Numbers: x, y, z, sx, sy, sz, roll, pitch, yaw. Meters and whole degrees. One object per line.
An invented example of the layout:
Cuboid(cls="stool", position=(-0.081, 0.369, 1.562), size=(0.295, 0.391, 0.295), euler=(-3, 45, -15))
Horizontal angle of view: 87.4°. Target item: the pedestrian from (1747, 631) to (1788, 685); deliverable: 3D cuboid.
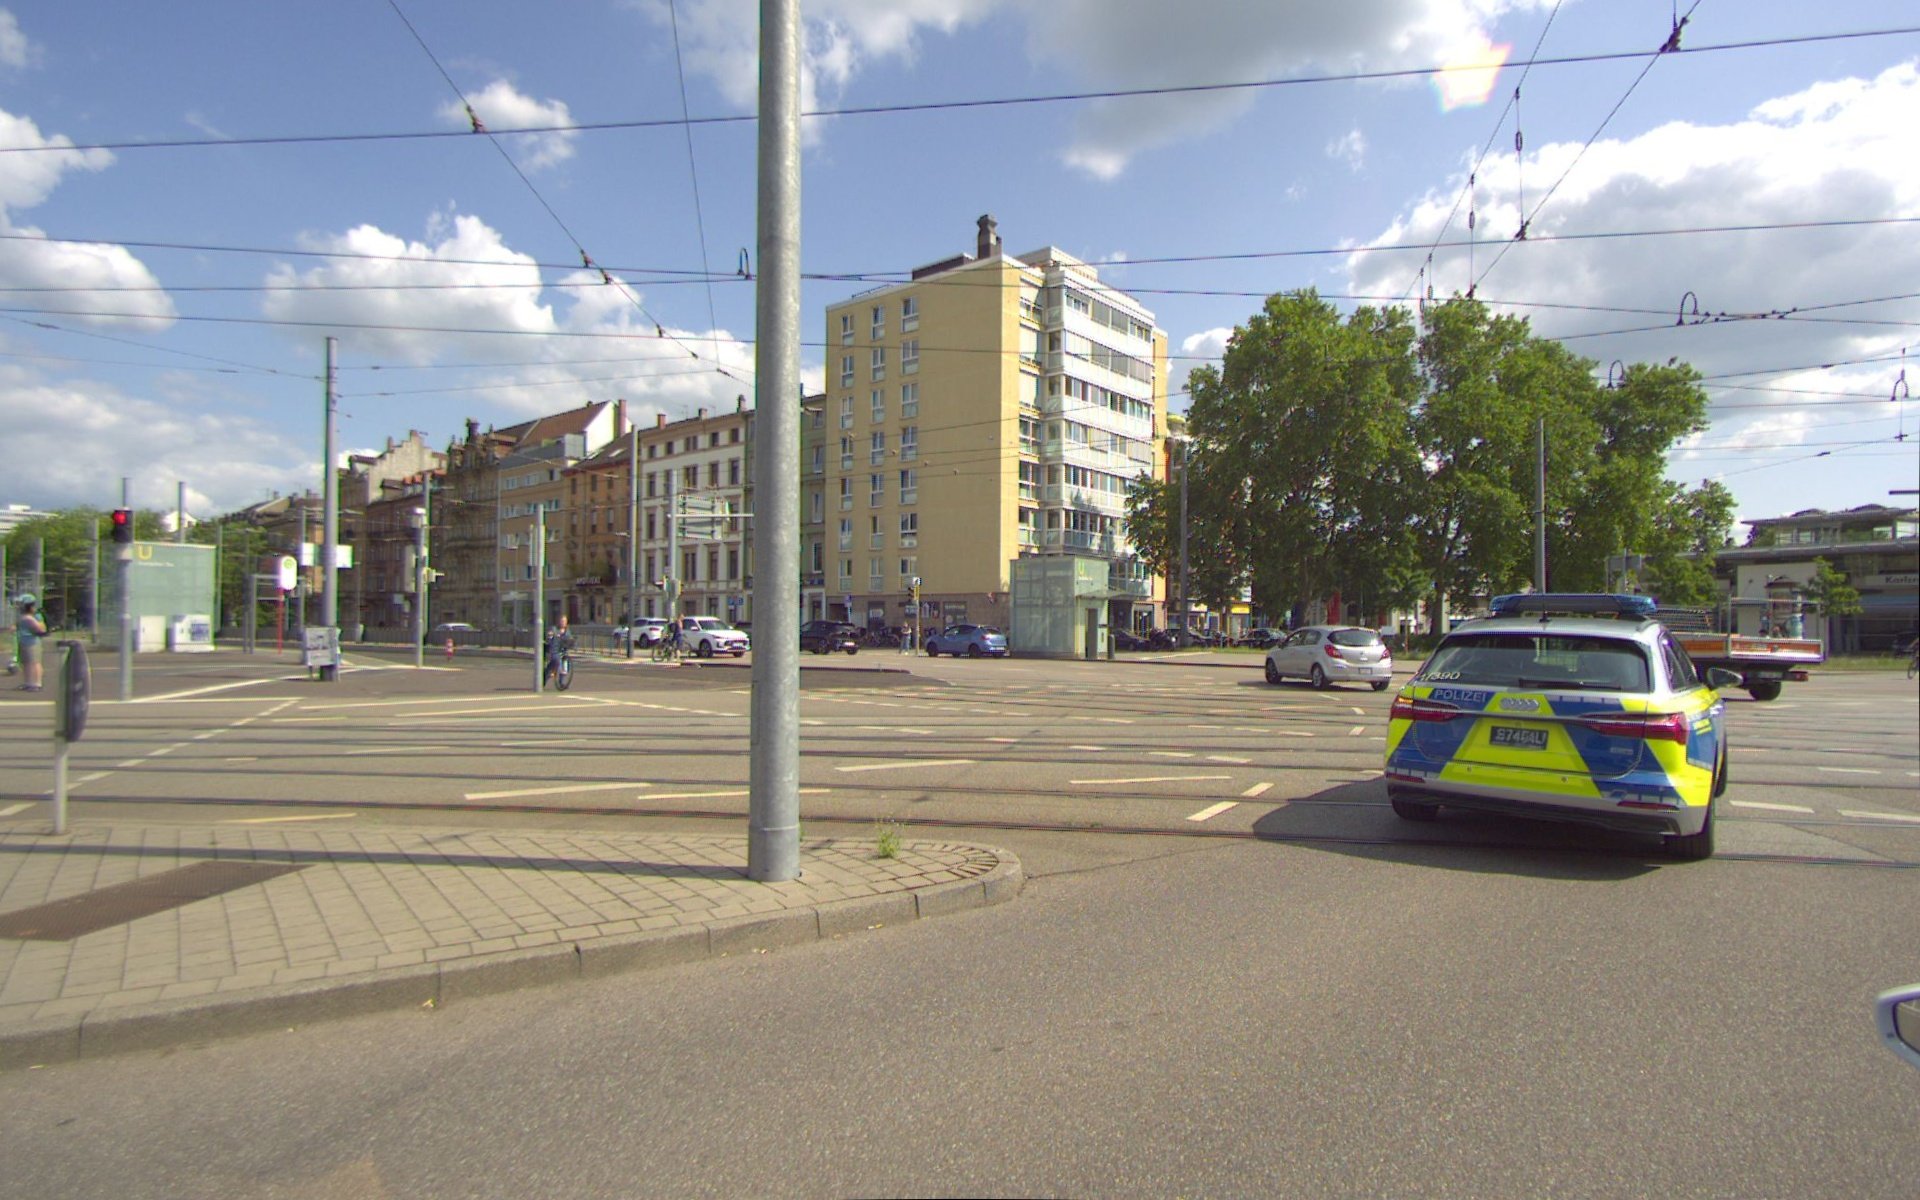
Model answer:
Cuboid(cls="pedestrian", position=(27.594, 1.971, 34.333), size=(0.909, 1.767, 0.589), euler=(2, 0, 25))

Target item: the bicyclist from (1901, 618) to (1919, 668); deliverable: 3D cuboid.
Cuboid(cls="bicyclist", position=(33.133, 1.485, 34.604), size=(0.749, 1.705, 0.758), euler=(1, -2, -22))

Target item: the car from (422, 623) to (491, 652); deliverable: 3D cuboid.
Cuboid(cls="car", position=(-27.548, 2.013, 54.878), size=(4.033, 1.548, 1.990), euler=(-1, -2, 41))

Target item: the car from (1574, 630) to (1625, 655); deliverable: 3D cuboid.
Cuboid(cls="car", position=(52.433, 3.480, 82.335), size=(5.023, 1.962, 1.953), euler=(3, -4, -38))

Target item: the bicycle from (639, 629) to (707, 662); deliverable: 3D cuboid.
Cuboid(cls="bicycle", position=(-10.480, 1.656, 36.779), size=(0.875, 1.153, 2.350), euler=(2, 0, 34))

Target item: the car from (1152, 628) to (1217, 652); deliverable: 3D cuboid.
Cuboid(cls="car", position=(15.195, 2.684, 67.964), size=(3.938, 1.514, 1.795), euler=(-1, -2, 39))

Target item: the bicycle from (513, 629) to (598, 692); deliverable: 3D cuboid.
Cuboid(cls="bicycle", position=(-8.302, 1.207, 20.536), size=(0.986, 1.204, 2.275), euler=(2, -3, -39))

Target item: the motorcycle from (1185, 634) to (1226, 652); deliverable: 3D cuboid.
Cuboid(cls="motorcycle", position=(13.490, 2.373, 55.239), size=(2.004, 0.929, 0.811), euler=(0, -1, 0))

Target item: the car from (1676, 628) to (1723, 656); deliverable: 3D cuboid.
Cuboid(cls="car", position=(55.829, 3.196, 75.777), size=(4.199, 2.040, 1.976), euler=(3, -4, -41))

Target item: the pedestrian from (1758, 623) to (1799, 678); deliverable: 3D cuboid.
Cuboid(cls="pedestrian", position=(27.242, 1.660, 33.440), size=(0.909, 1.767, 0.589), euler=(2, 0, 25))

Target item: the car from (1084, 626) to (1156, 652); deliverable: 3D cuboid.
Cuboid(cls="car", position=(9.506, 2.310, 59.711), size=(3.937, 1.416, 1.666), euler=(0, -3, 38))

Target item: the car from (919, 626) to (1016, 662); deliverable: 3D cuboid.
Cuboid(cls="car", position=(0.290, 1.853, 42.605), size=(3.942, 1.395, 1.733), euler=(0, -2, 42))

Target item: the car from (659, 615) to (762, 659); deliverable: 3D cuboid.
Cuboid(cls="car", position=(-10.188, 1.482, 40.938), size=(4.224, 1.661, 2.033), euler=(-1, -2, 41))

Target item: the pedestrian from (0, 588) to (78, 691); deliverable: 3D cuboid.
Cuboid(cls="pedestrian", position=(-16.927, 0.716, 18.397), size=(1.017, 1.821, 0.760), euler=(2, 0, -33))

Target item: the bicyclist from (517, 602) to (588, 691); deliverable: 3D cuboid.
Cuboid(cls="bicyclist", position=(-8.373, 0.952, 20.633), size=(0.987, 1.753, 1.287), euler=(2, -3, -39))

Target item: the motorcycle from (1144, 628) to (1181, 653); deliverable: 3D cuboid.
Cuboid(cls="motorcycle", position=(10.345, 2.044, 51.412), size=(0.891, 1.254, 2.210), euler=(0, -1, -19))

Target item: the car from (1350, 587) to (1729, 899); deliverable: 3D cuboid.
Cuboid(cls="car", position=(4.592, 0.778, 7.546), size=(1.856, 1.589, 4.597), euler=(1, -1, 38))

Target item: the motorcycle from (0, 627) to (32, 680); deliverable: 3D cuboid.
Cuboid(cls="motorcycle", position=(-22.911, 1.282, 24.266), size=(0.479, 1.253, 1.433), euler=(2, -2, -34))

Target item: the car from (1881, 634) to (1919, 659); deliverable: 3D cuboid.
Cuboid(cls="car", position=(61.386, 3.056, 65.306), size=(3.887, 1.553, 1.803), euler=(3, -4, -41))

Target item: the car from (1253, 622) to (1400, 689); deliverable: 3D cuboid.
Cuboid(cls="car", position=(8.773, 1.292, 24.422), size=(1.819, 1.494, 3.997), euler=(0, -1, -6))

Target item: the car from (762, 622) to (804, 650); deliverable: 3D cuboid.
Cuboid(cls="car", position=(-10.052, 2.079, 57.310), size=(1.863, 1.516, 3.899), euler=(2, -2, -3))

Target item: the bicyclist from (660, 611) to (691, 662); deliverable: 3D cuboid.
Cuboid(cls="bicyclist", position=(-10.437, 1.336, 36.813), size=(0.767, 1.821, 0.708), euler=(2, 0, 36))

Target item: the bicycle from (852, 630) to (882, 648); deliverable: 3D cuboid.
Cuboid(cls="bicycle", position=(-6.015, 2.481, 64.873), size=(1.779, 1.118, 0.794), euler=(0, -1, 35))

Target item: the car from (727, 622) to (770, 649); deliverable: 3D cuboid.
Cuboid(cls="car", position=(-12.539, 2.122, 59.674), size=(1.863, 1.516, 3.899), euler=(2, -2, -3))

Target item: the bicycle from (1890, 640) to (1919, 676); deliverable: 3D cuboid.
Cuboid(cls="bicycle", position=(33.089, 1.997, 34.585), size=(2.119, 1.208, 0.758), euler=(1, -2, -23))

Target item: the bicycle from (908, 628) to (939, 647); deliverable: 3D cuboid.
Cuboid(cls="bicycle", position=(-2.255, 2.308, 62.127), size=(1.779, 1.118, 0.794), euler=(0, -1, 35))

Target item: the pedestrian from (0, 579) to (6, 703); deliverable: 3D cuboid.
Cuboid(cls="pedestrian", position=(-15.357, 0.621, 15.361), size=(0.752, 1.928, 0.826), euler=(2, 0, 22))

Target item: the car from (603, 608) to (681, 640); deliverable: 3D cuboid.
Cuboid(cls="car", position=(-17.169, 1.265, 54.099), size=(4.474, 1.599, 2.035), euler=(0, -1, 42))

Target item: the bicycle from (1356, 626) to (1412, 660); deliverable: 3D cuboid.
Cuboid(cls="bicycle", position=(18.825, 1.894, 44.639), size=(2.141, 1.433, 0.809), euler=(1, 0, 39))

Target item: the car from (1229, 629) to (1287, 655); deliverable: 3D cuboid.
Cuboid(cls="car", position=(17.918, 2.535, 60.272), size=(1.884, 1.432, 3.980), euler=(-1, -4, 41))

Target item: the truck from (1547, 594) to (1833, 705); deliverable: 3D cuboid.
Cuboid(cls="truck", position=(16.165, 1.072, 22.821), size=(2.300, 2.183, 5.853), euler=(1, -2, 1))

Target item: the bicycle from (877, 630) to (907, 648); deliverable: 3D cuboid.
Cuboid(cls="bicycle", position=(-4.329, 2.461, 63.744), size=(1.779, 1.118, 0.794), euler=(0, -1, 35))
